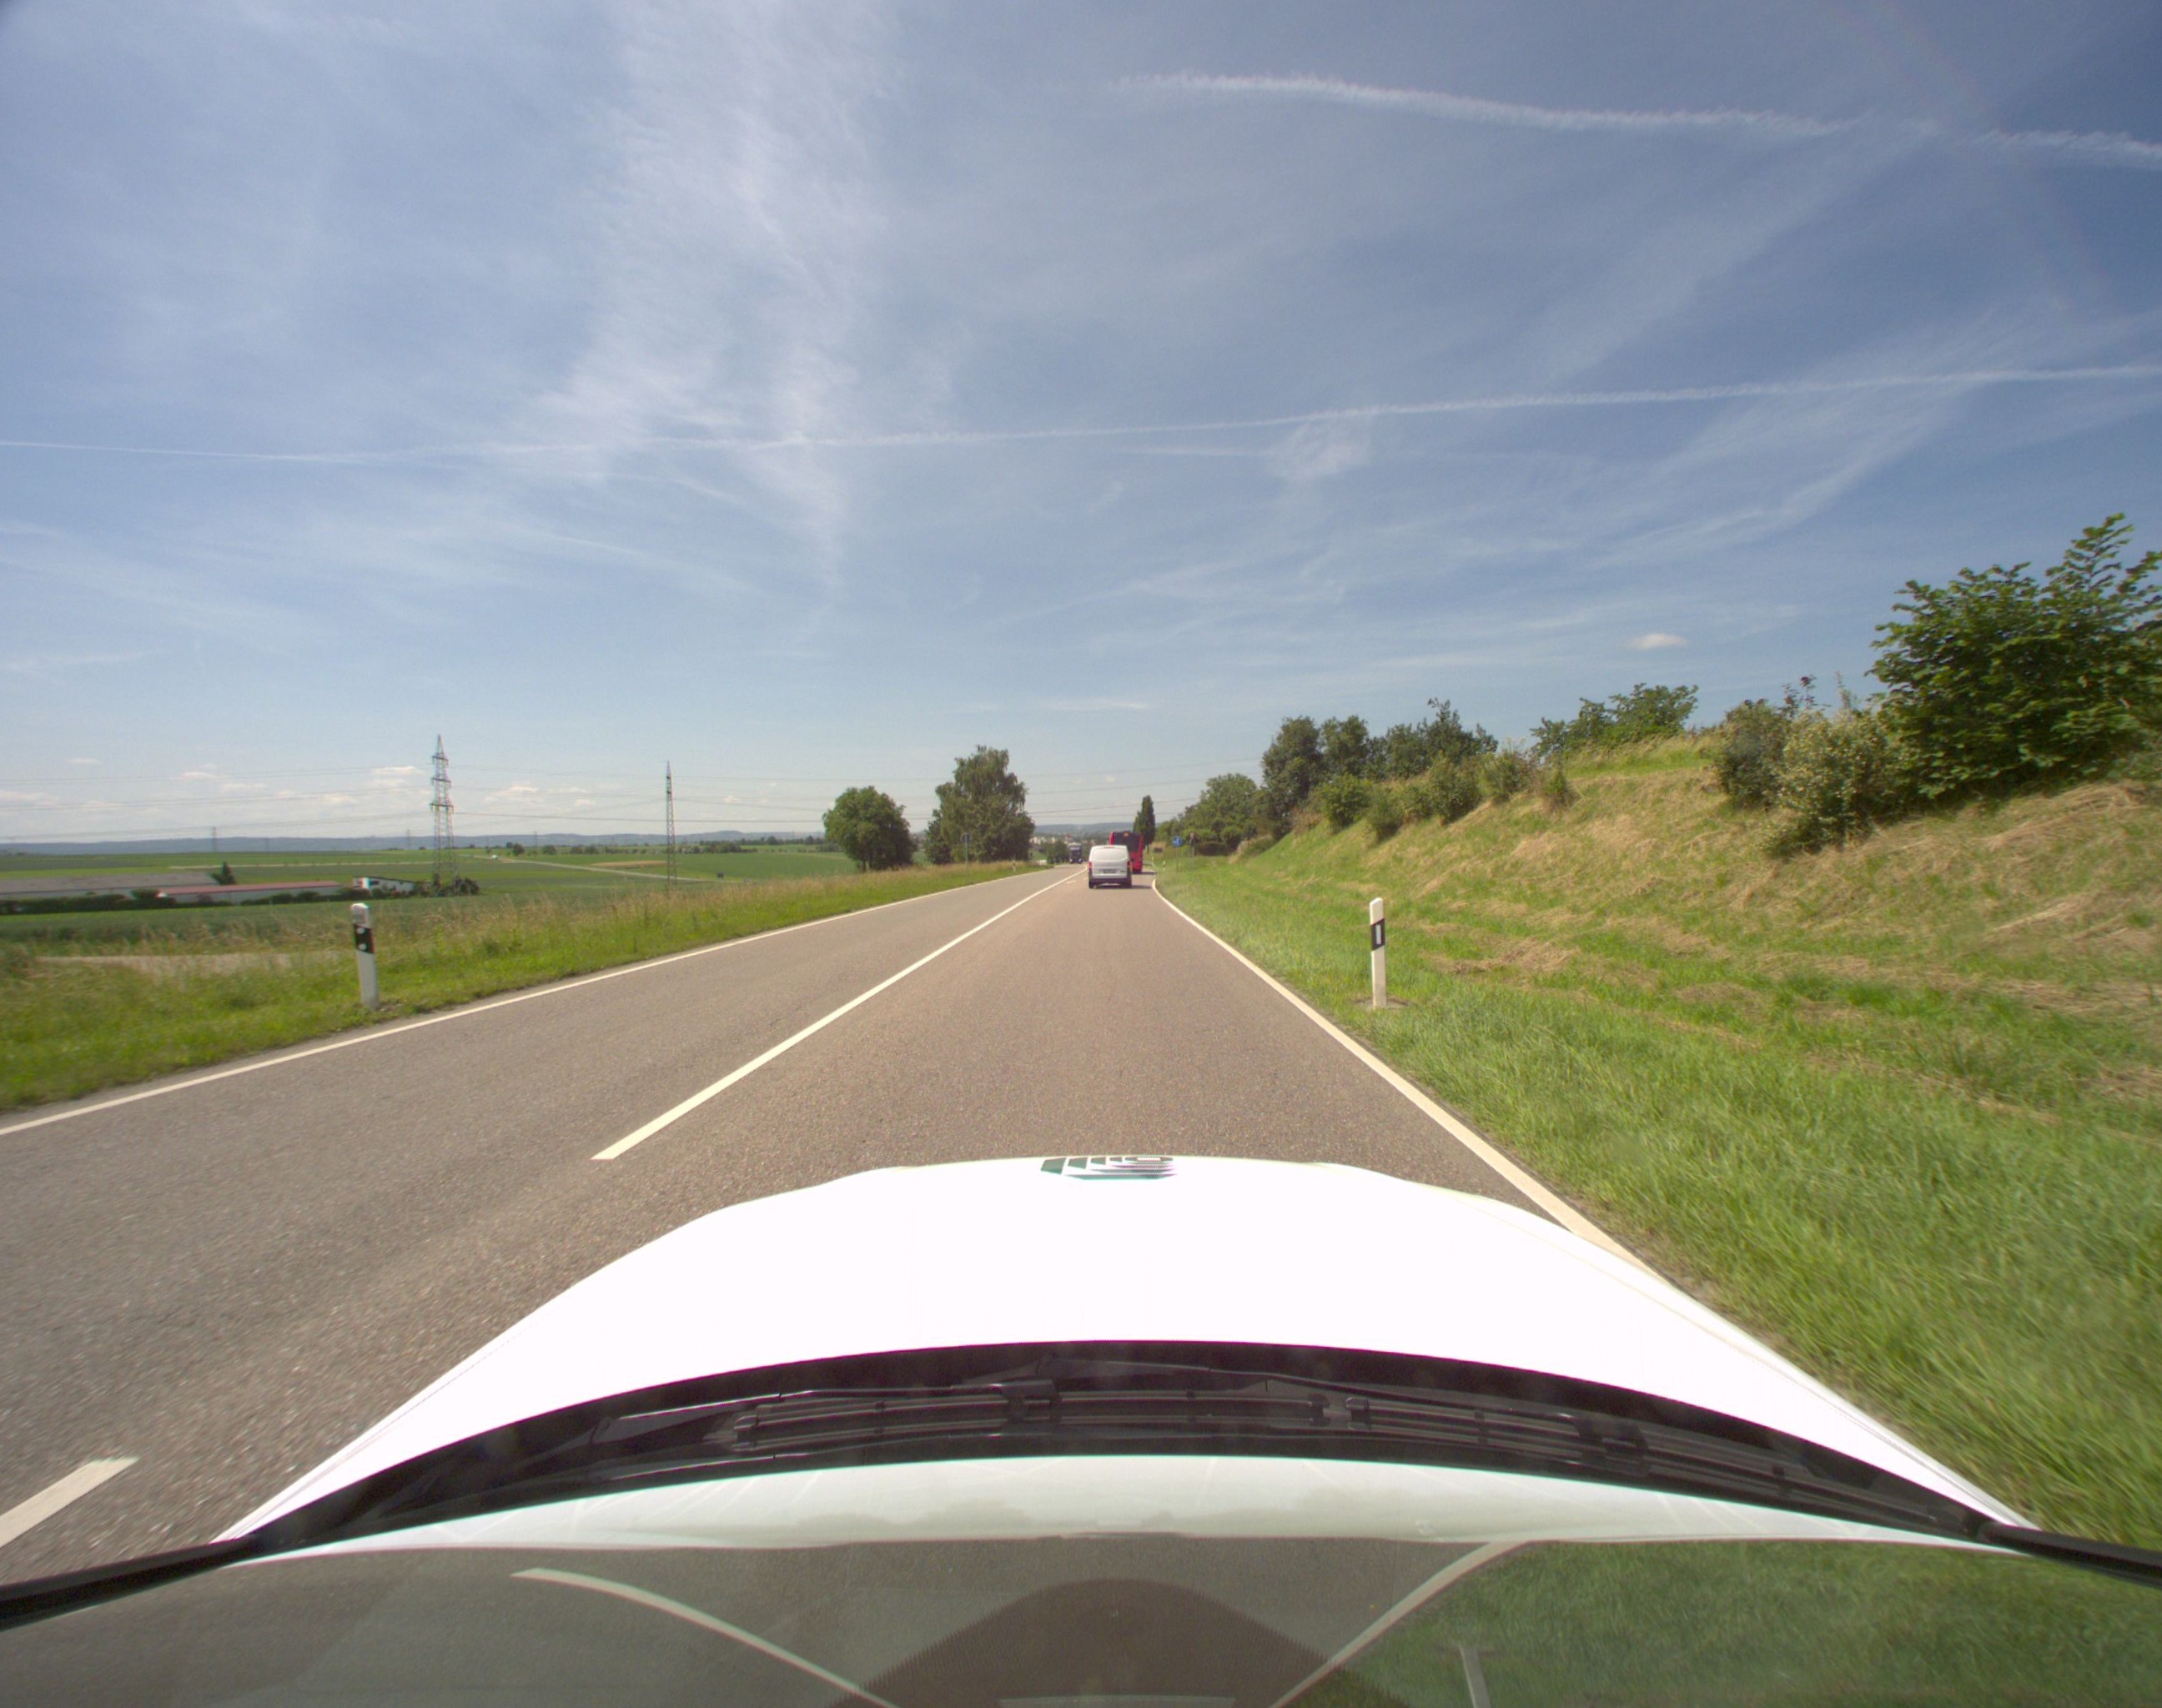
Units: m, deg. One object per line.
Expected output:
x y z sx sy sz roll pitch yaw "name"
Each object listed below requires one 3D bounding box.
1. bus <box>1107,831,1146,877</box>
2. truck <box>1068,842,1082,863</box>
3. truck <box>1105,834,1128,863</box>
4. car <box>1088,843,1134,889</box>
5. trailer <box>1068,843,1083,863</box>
3.675 -0.167 67.973 2.736 3.353 13.230 -3 1 2 "bus"
-1.216 -0.230 164.554 2.576 4.104 5.442 -1 0 1 "truck"
5.813 -0.855 134.670 3.475 4.423 14.910 -2 0 2 "truck"
1.361 0.486 36.751 1.916 1.889 4.002 -2 0 2 "car"
-1.104 -0.197 171.564 2.583 4.143 13.742 -1 0 1 "trailer"
